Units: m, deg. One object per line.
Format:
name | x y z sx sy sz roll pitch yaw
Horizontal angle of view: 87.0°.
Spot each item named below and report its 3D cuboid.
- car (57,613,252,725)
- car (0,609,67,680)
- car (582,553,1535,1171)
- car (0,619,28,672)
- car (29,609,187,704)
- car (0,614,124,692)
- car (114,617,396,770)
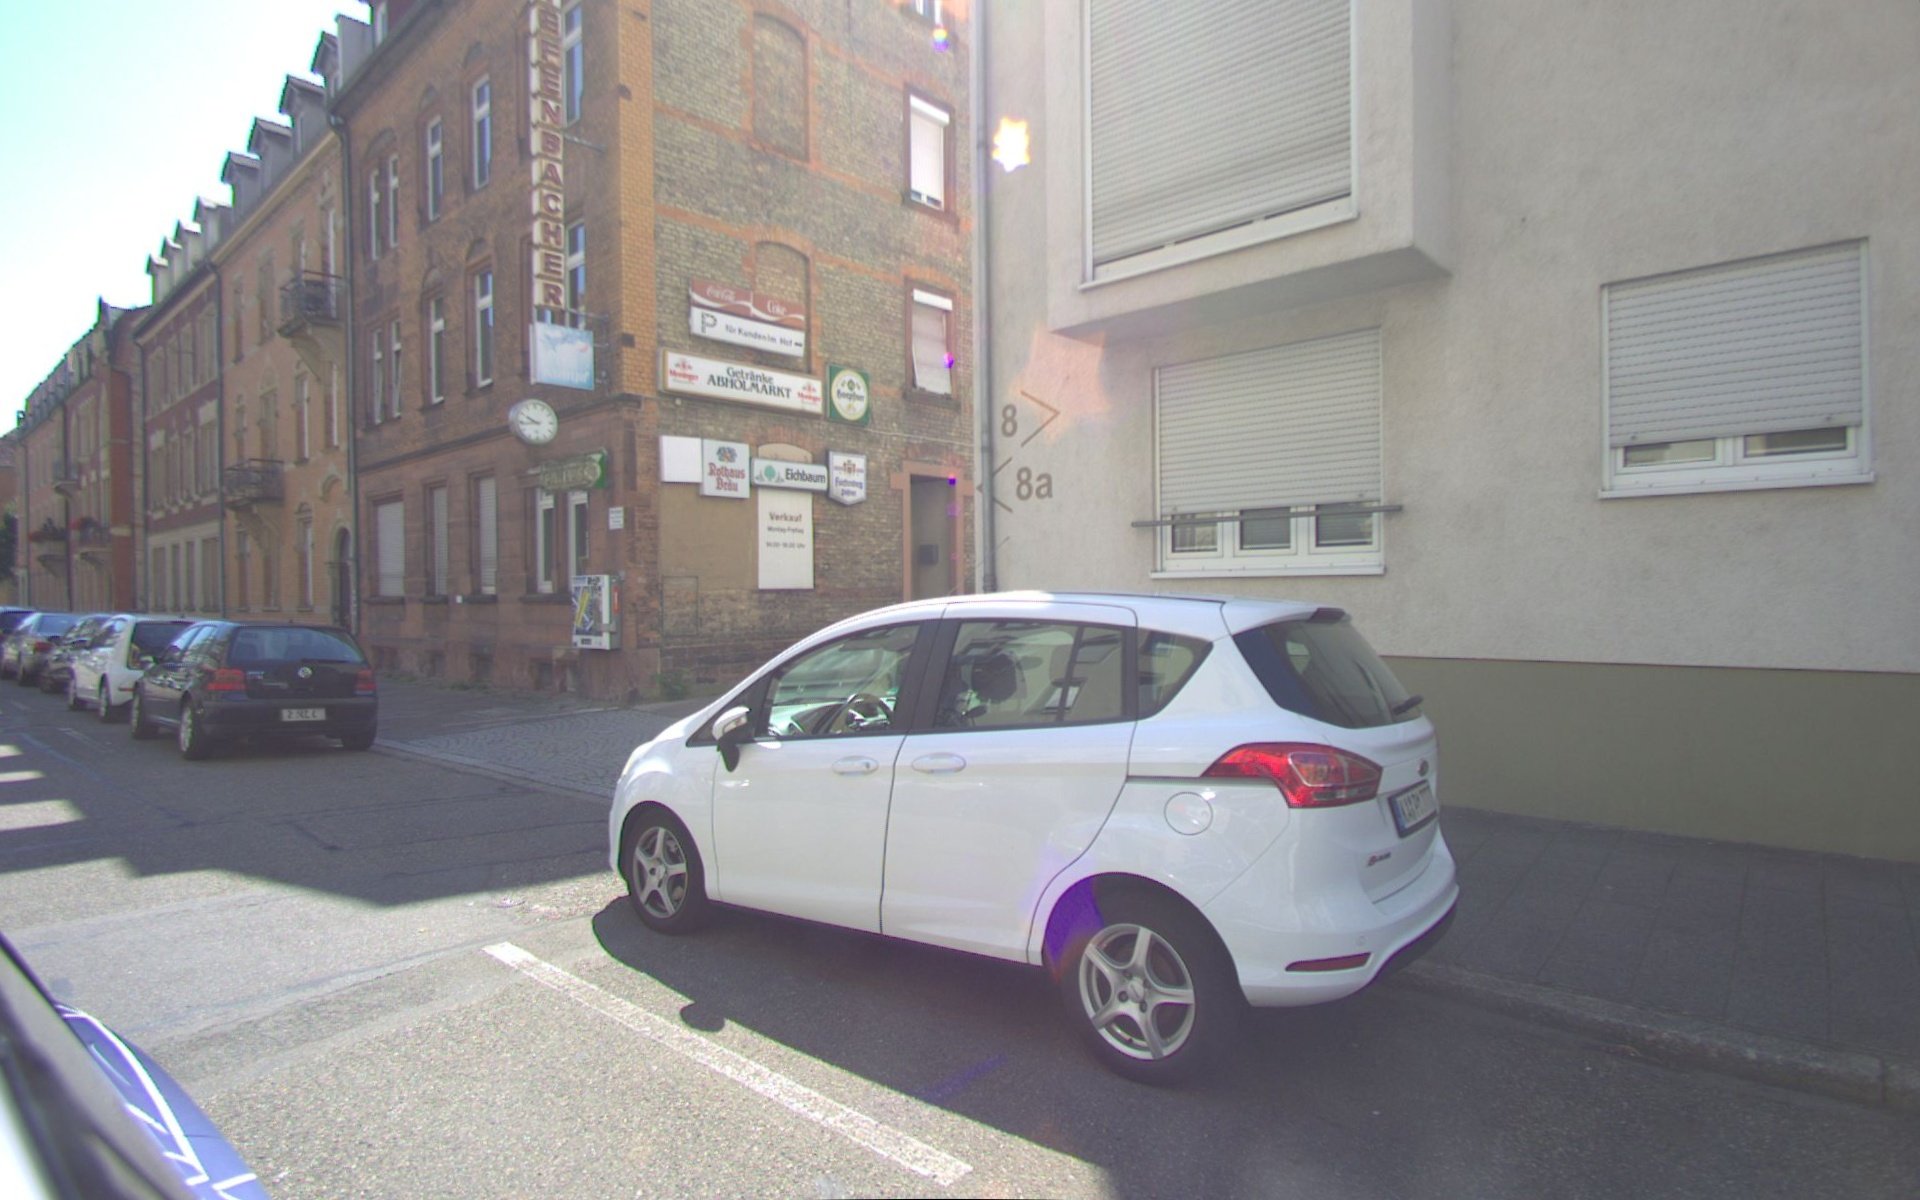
car | -11.897 0.950 14.877 3.677 1.440 1.611 -1 -4 42
car | -23.464 1.068 25.055 3.523 1.655 1.431 -1 -4 40
car | 0.200 0.716 4.406 3.847 1.561 1.613 0 -4 37
car | -27.243 1.236 28.223 3.524 1.410 1.431 -1 -4 41
car | -15.408 0.978 18.261 3.521 1.555 1.432 -1 -4 38
car | -18.769 1.063 21.013 3.522 1.484 1.432 -1 -4 39
car | -8.102 0.950 11.510 3.836 1.440 1.758 -1 -4 42
